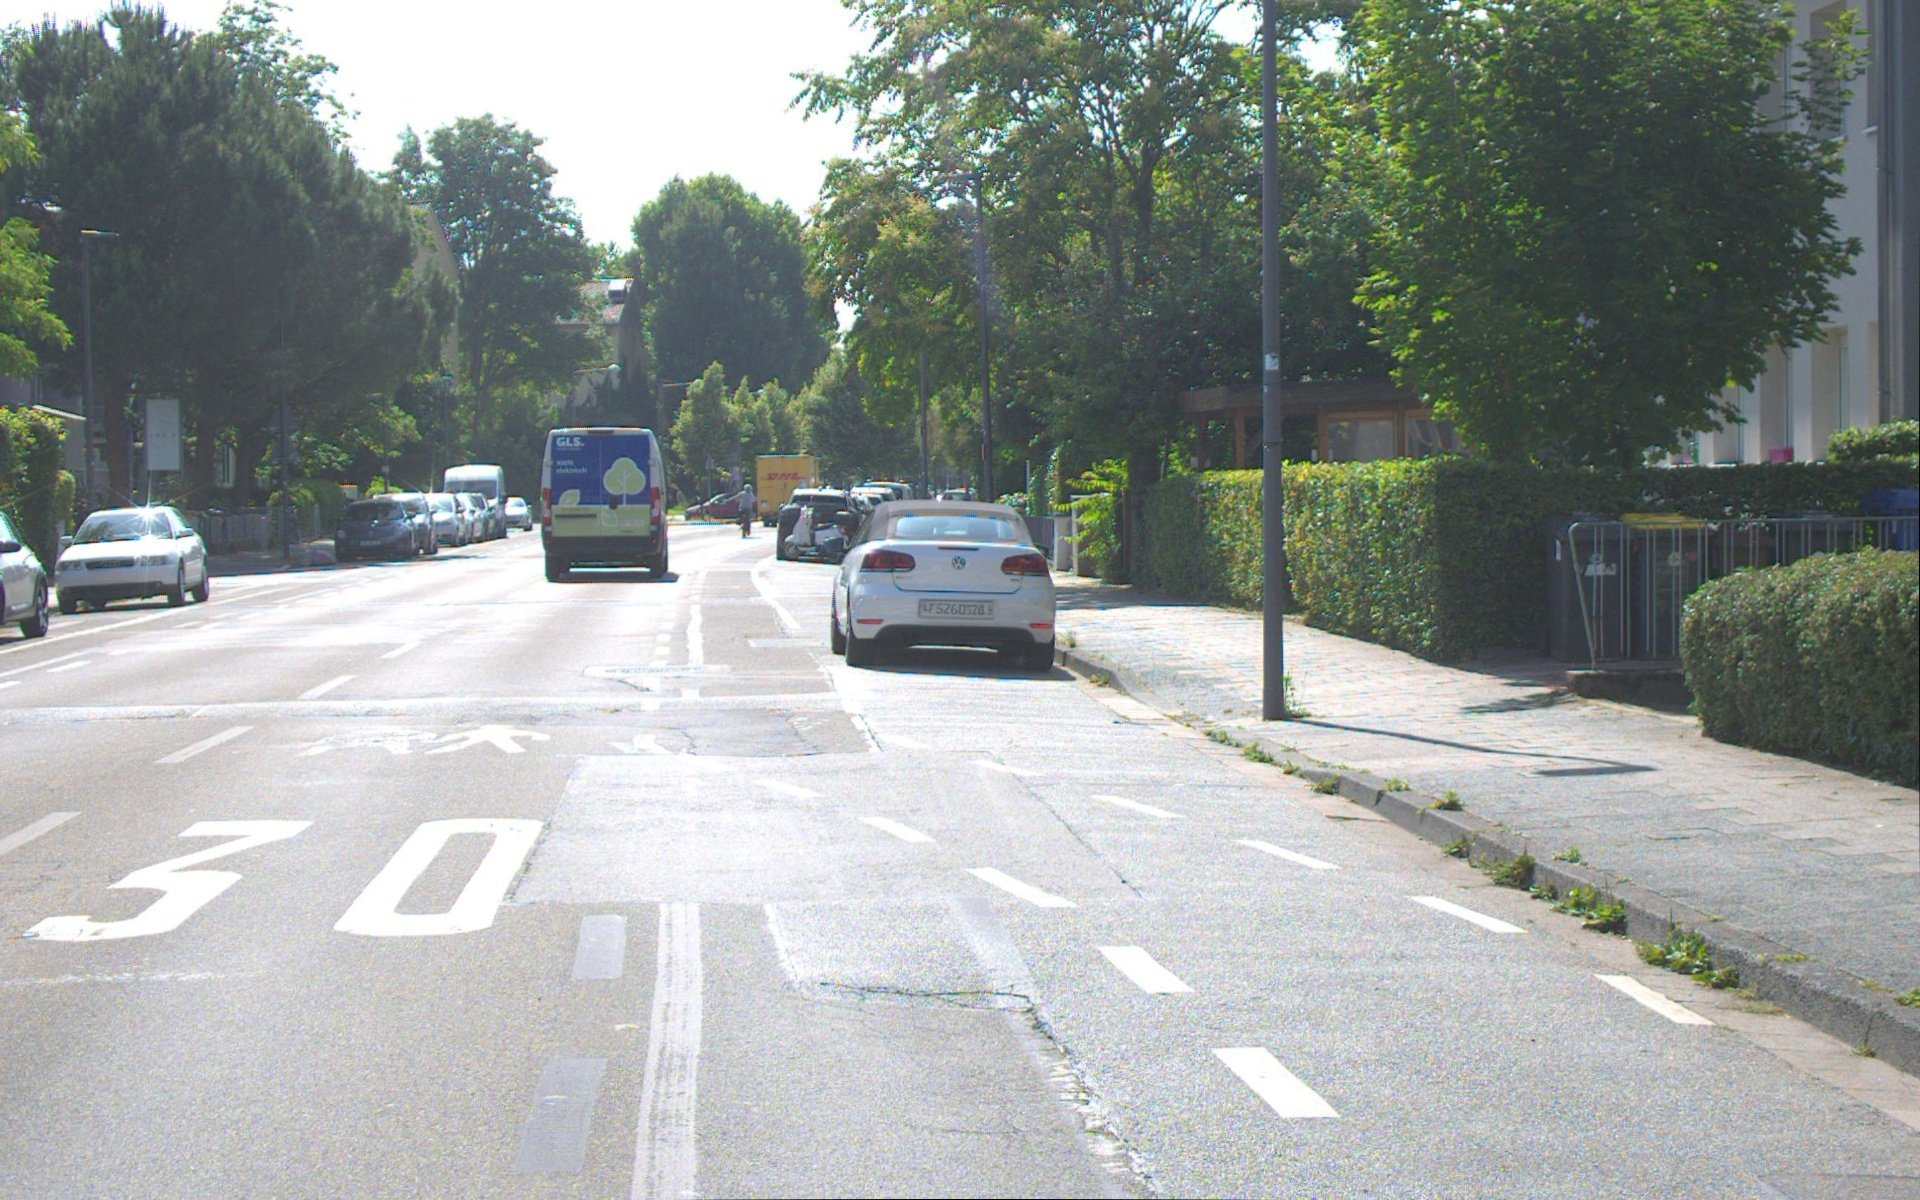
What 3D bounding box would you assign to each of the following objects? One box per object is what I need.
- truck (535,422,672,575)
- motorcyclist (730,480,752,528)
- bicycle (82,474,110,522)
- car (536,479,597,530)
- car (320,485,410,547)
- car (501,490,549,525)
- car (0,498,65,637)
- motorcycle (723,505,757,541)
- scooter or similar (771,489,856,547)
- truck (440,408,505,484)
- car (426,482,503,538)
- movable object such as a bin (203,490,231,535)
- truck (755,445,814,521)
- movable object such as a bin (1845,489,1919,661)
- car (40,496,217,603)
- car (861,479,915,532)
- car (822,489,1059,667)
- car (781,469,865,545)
[{"bbox_3d":[-6.248,-1.788,60.298,2.272,2.562,4.393,-1,2,-6],"label":"truck"},{"bbox_3d":[-7.017,-3.067,110.052,0.672,1.513,0.652,-1,2,-3],"label":"motorcyclist"},{"bbox_3d":[-22.295,-2.639,88.679,0.536,1.177,1.447,-2,4,-20],"label":"bicycle"},{"bbox_3d":[-12.351,-3.006,108.051,1.731,1.535,4.001,-2,2,-5],"label":"car"},{"bbox_3d":[-14.468,-2.061,83.788,1.780,1.455,4.087,-1,2,-5],"label":"car"},{"bbox_3d":[-17.616,-3.762,139.306,1.754,1.339,3.655,-1,2,-5],"label":"car"},{"bbox_3d":[-11.107,-0.366,37.587,1.785,1.435,4.001,-1,2,-3],"label":"car"},{"bbox_3d":[-7.034,-2.480,110.105,1.056,1.118,2.992,-1,2,-4],"label":"motorcycle"},{"bbox_3d":[-3.209,-1.794,75.163,1.796,1.150,0.718,5,2,41],"label":"scooter or similar"},{"bbox_3d":[-16.863,-5.324,119.161,2.080,2.528,5.469,-1,2,-7],"label":"truck"},{"bbox_3d":[-14.479,-2.642,100.661,1.835,1.590,3.775,-1,2,-2],"label":"car"},{"bbox_3d":[-18.505,-2.181,85.660,0.543,1.107,0.585,-1,2,2],"label":"movable object such as a bin"},{"bbox_3d":[-7.044,-4.696,138.332,2.214,2.936,5.687,-1,2,-2],"label":"truck"},{"bbox_3d":[7.075,-0.197,25.486,0.746,1.239,0.794,-1,2,-8],"label":"movable object such as a bin"},{"bbox_3d":[-11.857,-0.750,49.255,1.785,1.435,4.001,-1,2,-4],"label":"car"},{"bbox_3d":[-2.339,-3.109,112.412,1.700,1.671,3.775,-1,2,-1],"label":"car"},{"bbox_3d":[-0.240,-0.245,30.080,1.740,1.397,4.075,0,2,-5],"label":"car"},{"bbox_3d":[-3.134,-2.123,77.890,1.784,1.632,4.471,1,2,-3],"label":"car"}]
